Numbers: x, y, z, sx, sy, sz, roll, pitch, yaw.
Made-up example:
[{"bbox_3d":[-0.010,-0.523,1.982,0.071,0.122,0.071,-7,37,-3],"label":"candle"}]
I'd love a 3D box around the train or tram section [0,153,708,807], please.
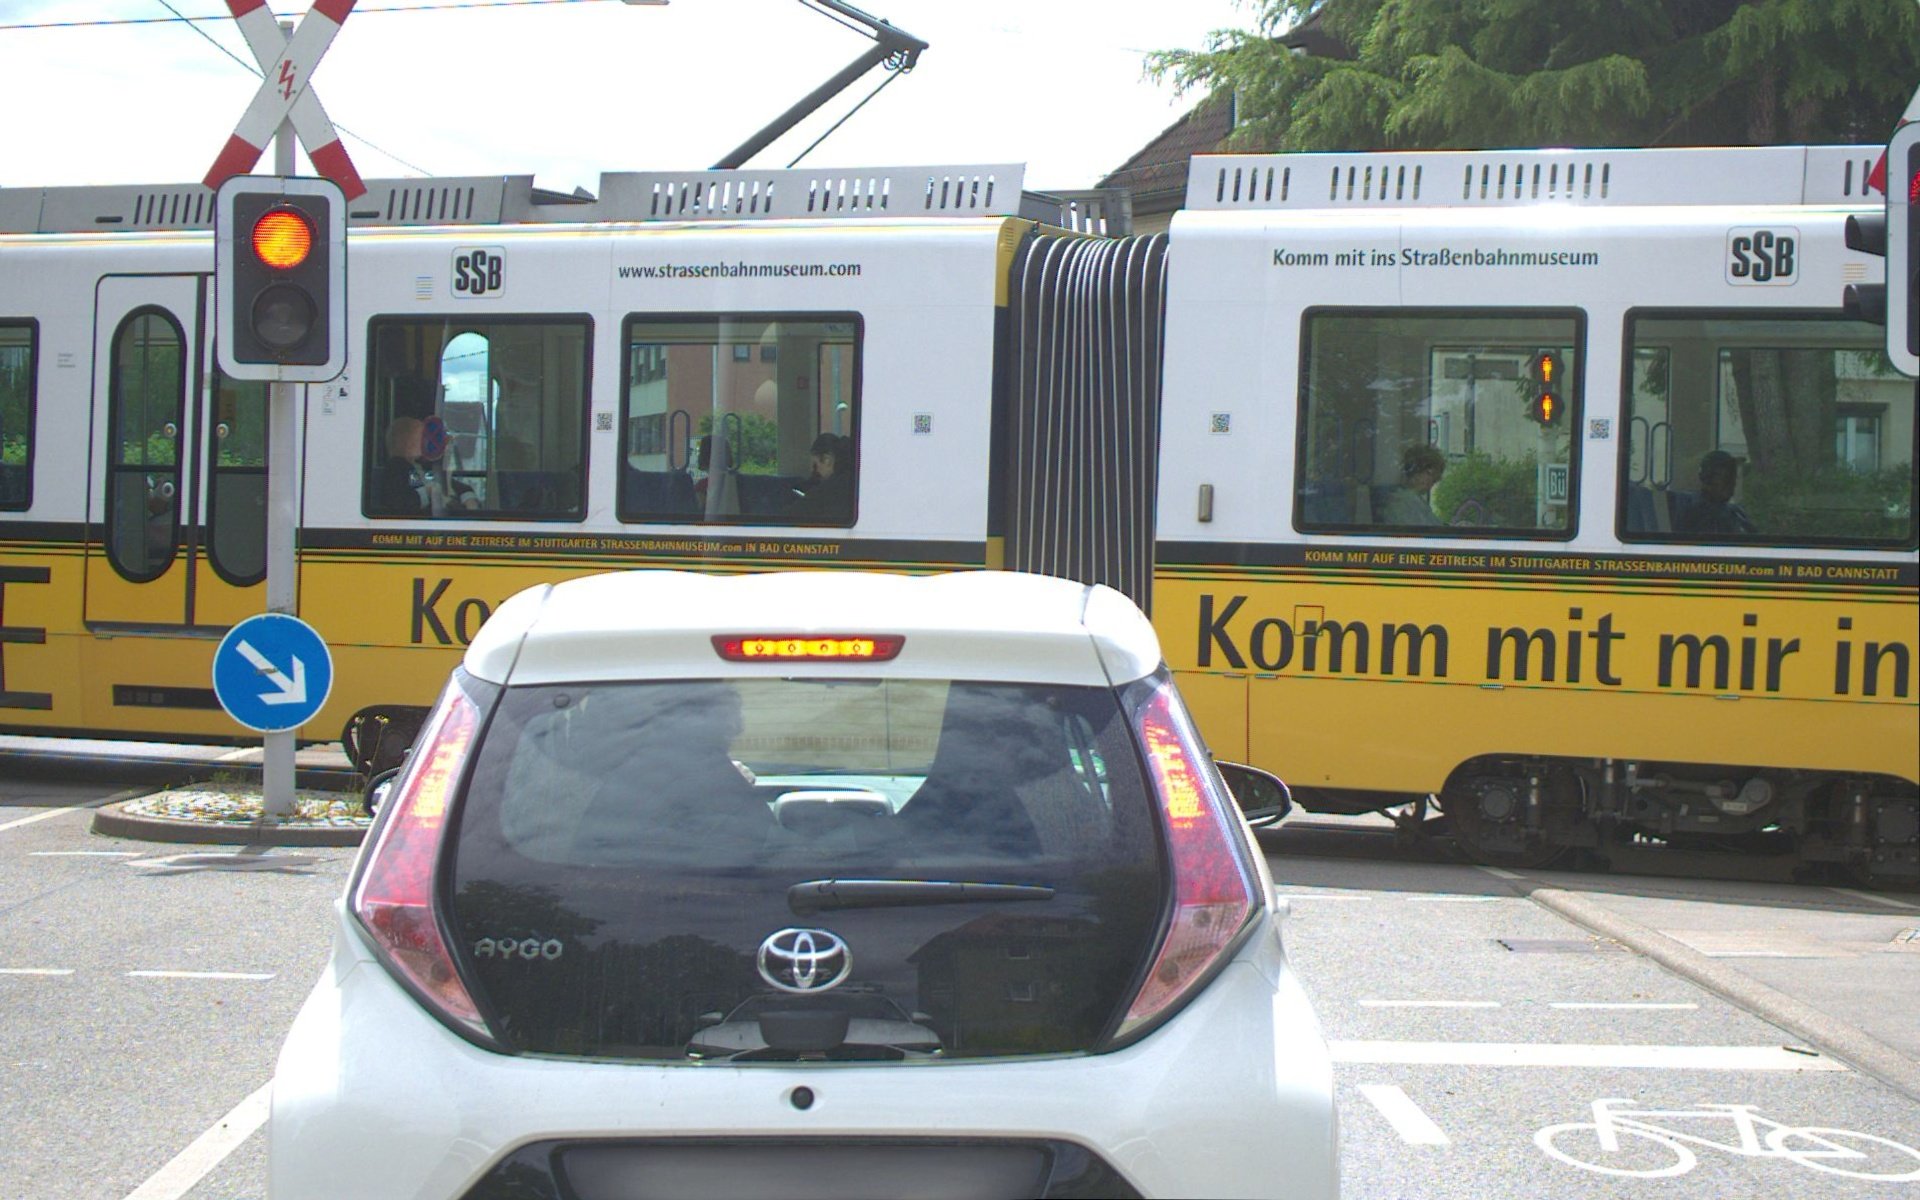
[{"bbox_3d":[-5.779,-0.829,22.309,7.700,3.709,2.866,2,1,23],"label":"train or tram section"}]

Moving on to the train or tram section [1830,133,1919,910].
[{"bbox_3d":[8.356,-0.251,16.410,7.700,3.709,2.866,2,1,23],"label":"train or tram section"}]

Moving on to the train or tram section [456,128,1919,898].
[{"bbox_3d":[1.293,-0.568,19.357,7.700,3.709,2.866,2,1,23],"label":"train or tram section"}]

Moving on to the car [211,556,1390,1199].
[{"bbox_3d":[-0.244,0.666,6.746,1.621,1.481,4.000,0,1,-1],"label":"car"}]
